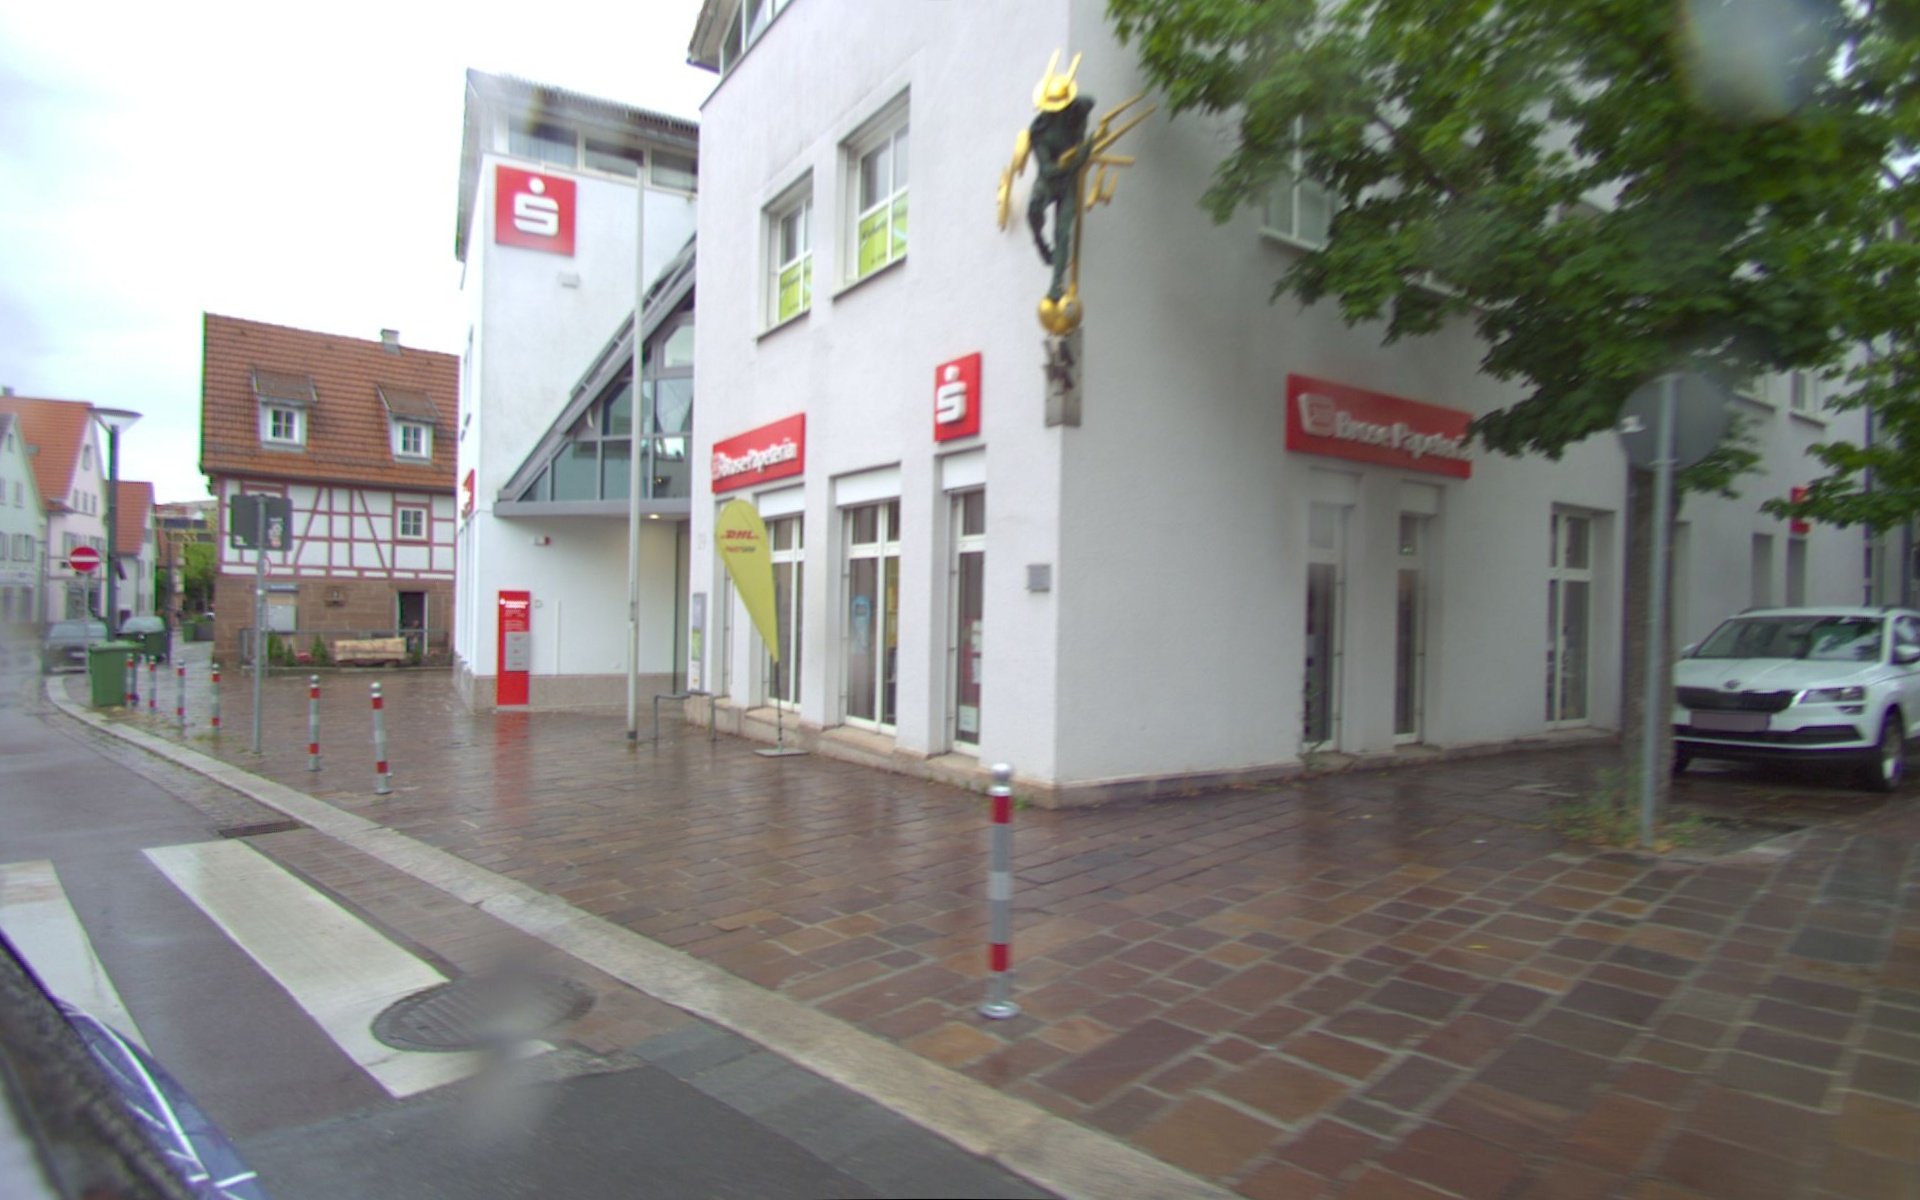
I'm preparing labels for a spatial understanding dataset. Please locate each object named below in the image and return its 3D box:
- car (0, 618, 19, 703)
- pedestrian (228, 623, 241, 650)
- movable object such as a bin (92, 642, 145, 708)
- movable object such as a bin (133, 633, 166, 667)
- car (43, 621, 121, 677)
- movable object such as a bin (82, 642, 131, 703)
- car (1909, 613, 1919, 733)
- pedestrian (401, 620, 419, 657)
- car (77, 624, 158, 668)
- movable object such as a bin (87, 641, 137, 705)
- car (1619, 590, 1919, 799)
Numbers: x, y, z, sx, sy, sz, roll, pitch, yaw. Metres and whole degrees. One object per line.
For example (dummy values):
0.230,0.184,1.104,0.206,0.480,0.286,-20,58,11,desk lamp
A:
-18.645,1.109,18.526,1.710,1.567,3.852,2,-3,-38,car
-36.818,1.857,51.351,0.448,1.317,0.519,1,-1,-32,pedestrian
-14.735,1.294,17.727,0.650,1.104,0.614,2,-2,-44,movable object such as a bin
-27.454,1.682,34.294,0.822,1.120,0.921,2,-2,-40,movable object such as a bin
-26.296,1.419,30.283,1.669,1.497,4.005,0,0,-42,car
-15.858,1.329,18.802,0.650,1.090,0.553,2,-2,-42,movable object such as a bin
14.786,1.007,13.750,3.933,1.578,1.936,2,-2,-34,car
-17.486,1.214,32.168,0.406,1.163,0.425,2,-2,-39,pedestrian
-33.607,1.783,40.469,1.966,1.541,4.011,-2,0,-33,car
-15.401,1.317,18.383,0.650,1.123,0.553,2,-2,-42,movable object such as a bin
8.218,0.787,9.574,3.933,1.576,1.971,2,-2,-35,car
